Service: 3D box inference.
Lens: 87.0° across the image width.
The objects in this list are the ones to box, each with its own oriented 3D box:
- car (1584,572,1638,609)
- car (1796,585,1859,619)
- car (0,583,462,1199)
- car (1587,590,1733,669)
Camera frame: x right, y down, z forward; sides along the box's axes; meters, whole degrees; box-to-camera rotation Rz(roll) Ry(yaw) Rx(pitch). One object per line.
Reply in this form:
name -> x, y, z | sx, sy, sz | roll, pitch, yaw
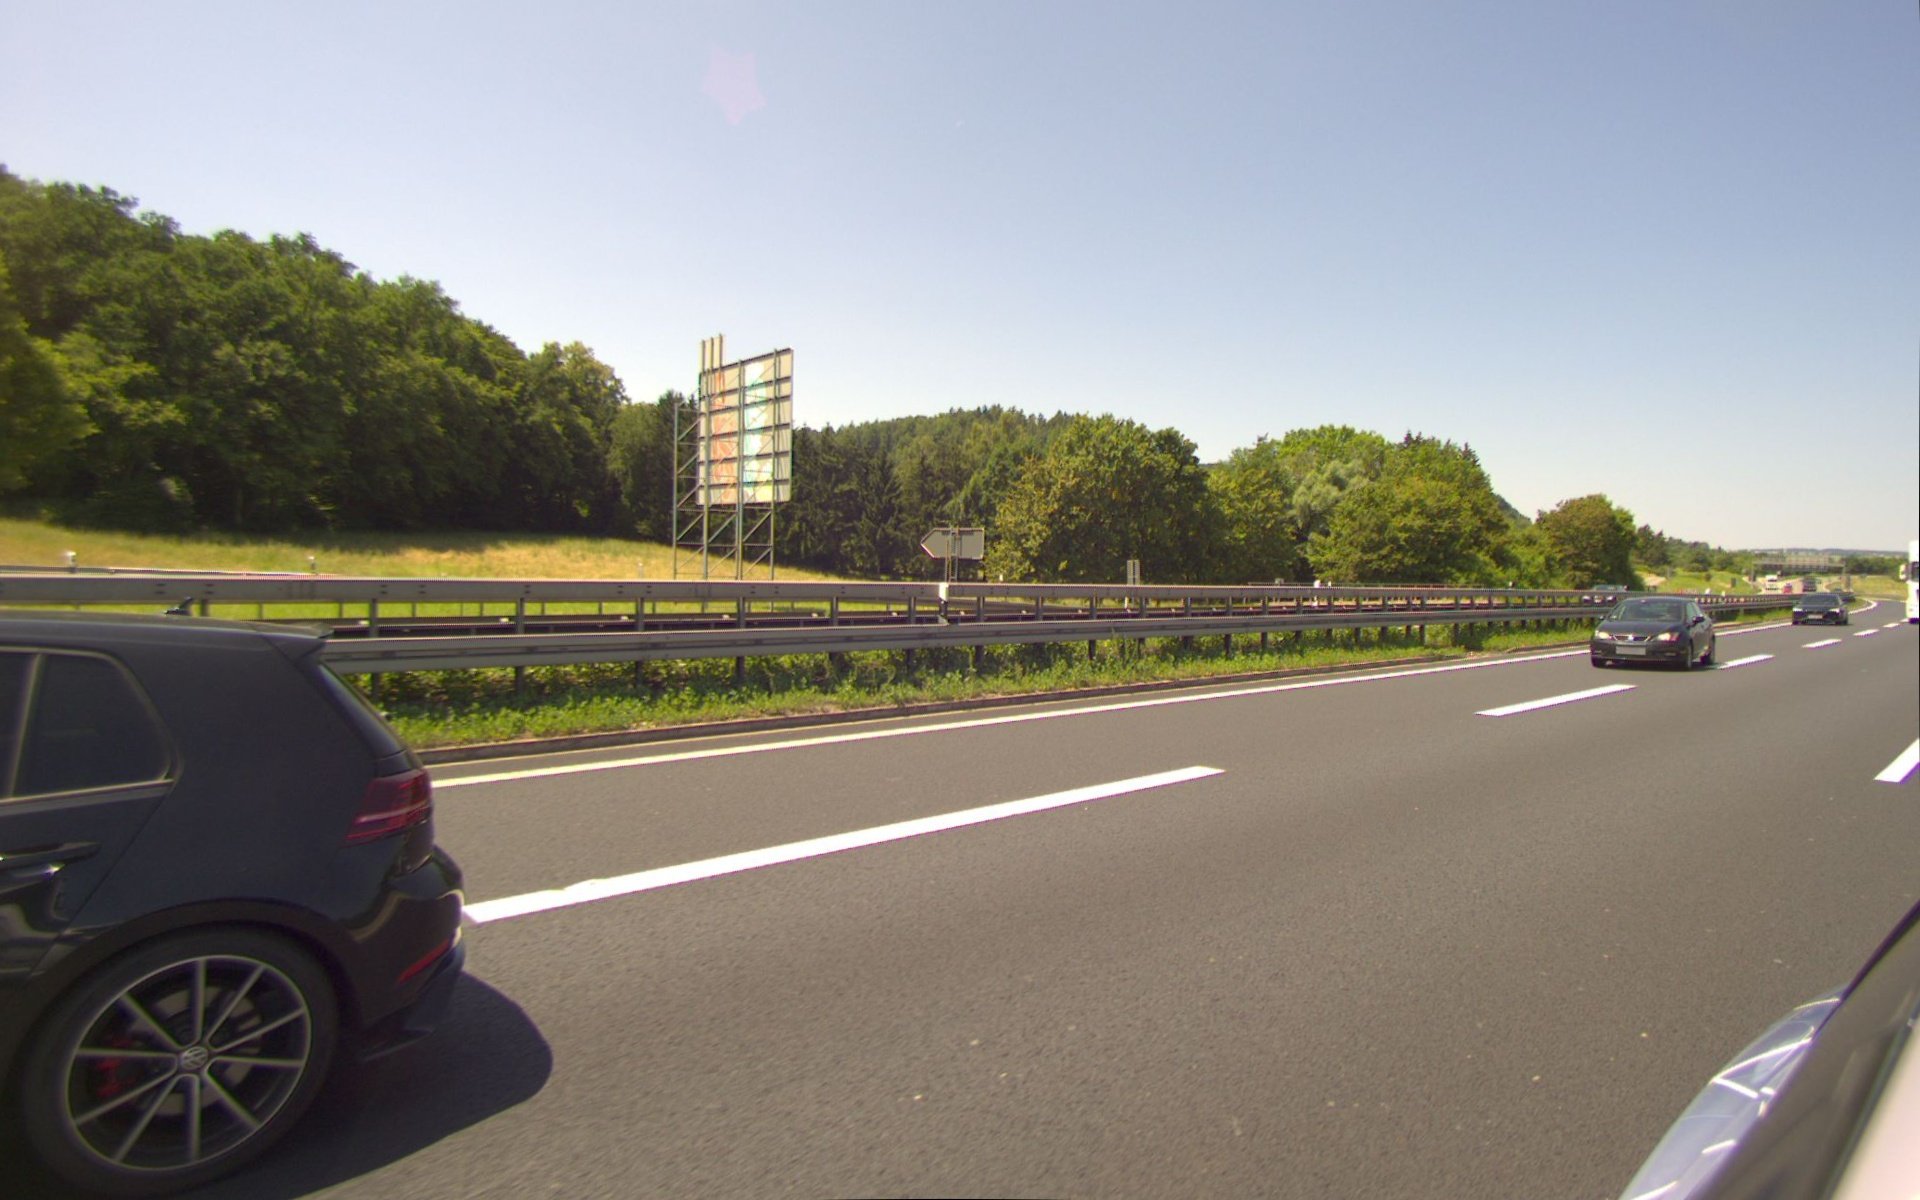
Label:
car -> 38.167, -0.572, 59.308 | 1.993, 2.039, 3.939 | 2, 2, 42
car -> 39.916, 0.057, 46.560 | 3.804, 1.491, 1.888 | -1, 2, -45
car -> -3.433, 0.703, 2.209 | 3.898, 1.453, 1.797 | -1, 2, -41
car -> 14.476, 0.530, 20.872 | 3.699, 1.417, 1.778 | -1, 2, -44
